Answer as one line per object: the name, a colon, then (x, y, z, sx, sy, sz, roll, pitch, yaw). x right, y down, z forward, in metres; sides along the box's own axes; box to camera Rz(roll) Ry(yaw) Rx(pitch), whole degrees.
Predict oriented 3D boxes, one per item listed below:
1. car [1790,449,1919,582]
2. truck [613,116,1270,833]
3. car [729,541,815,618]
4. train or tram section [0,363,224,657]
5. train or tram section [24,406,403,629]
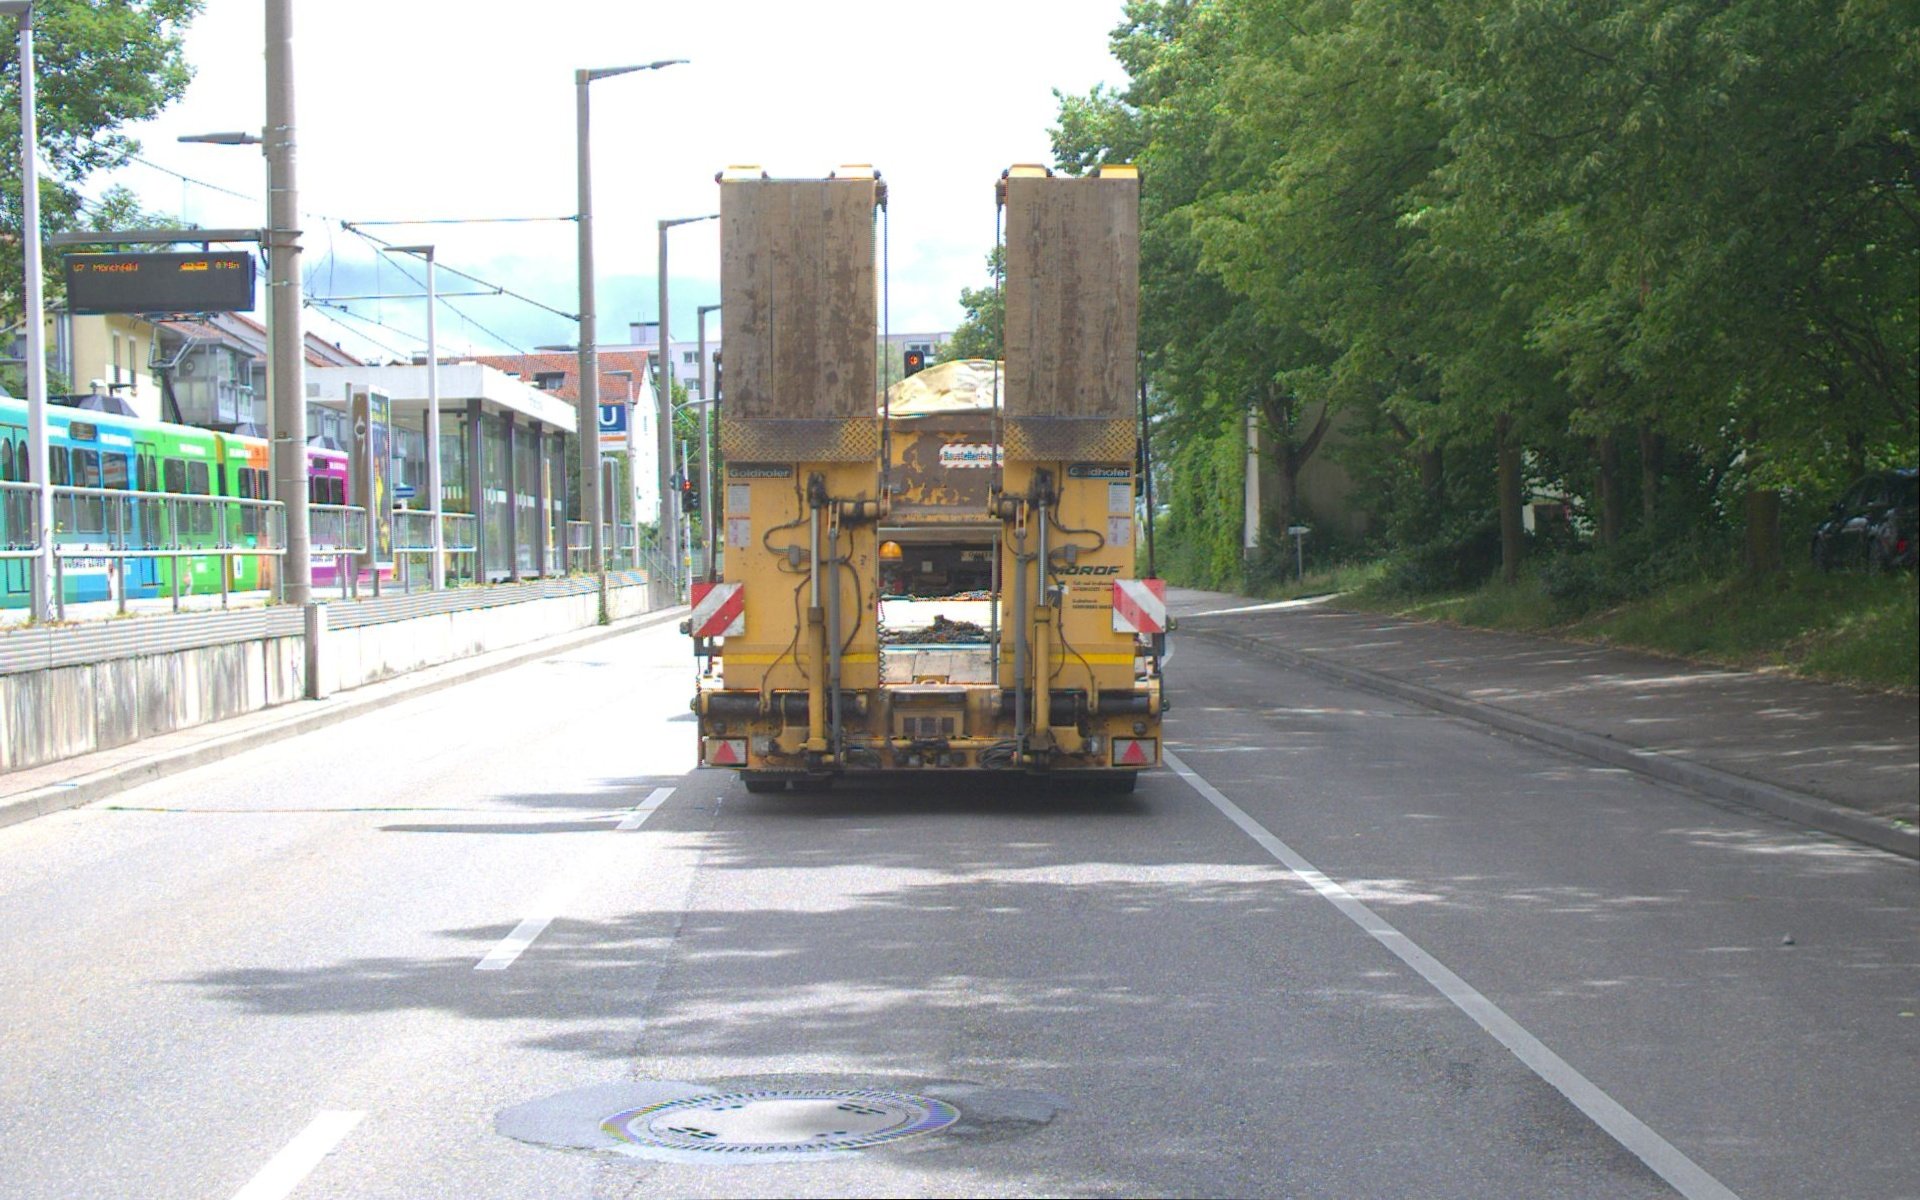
car: (11.416, -1.035, 41.465, 1.715, 1.502, 4.160, -4, 1, 0)
truck: (-0.471, -0.784, 24.971, 3.402, 3.719, 13.740, -1, 1, -3)
car: (-4.224, -0.482, 77.771, 1.720, 1.676, 4.387, 1, 1, 0)
train or tram section: (-12.908, -1.130, 44.112, 3.108, 3.453, 19.200, 1, 1, -1)
train or tram section: (-13.214, -1.447, 63.249, 3.108, 3.453, 19.091, 1, 1, -1)
